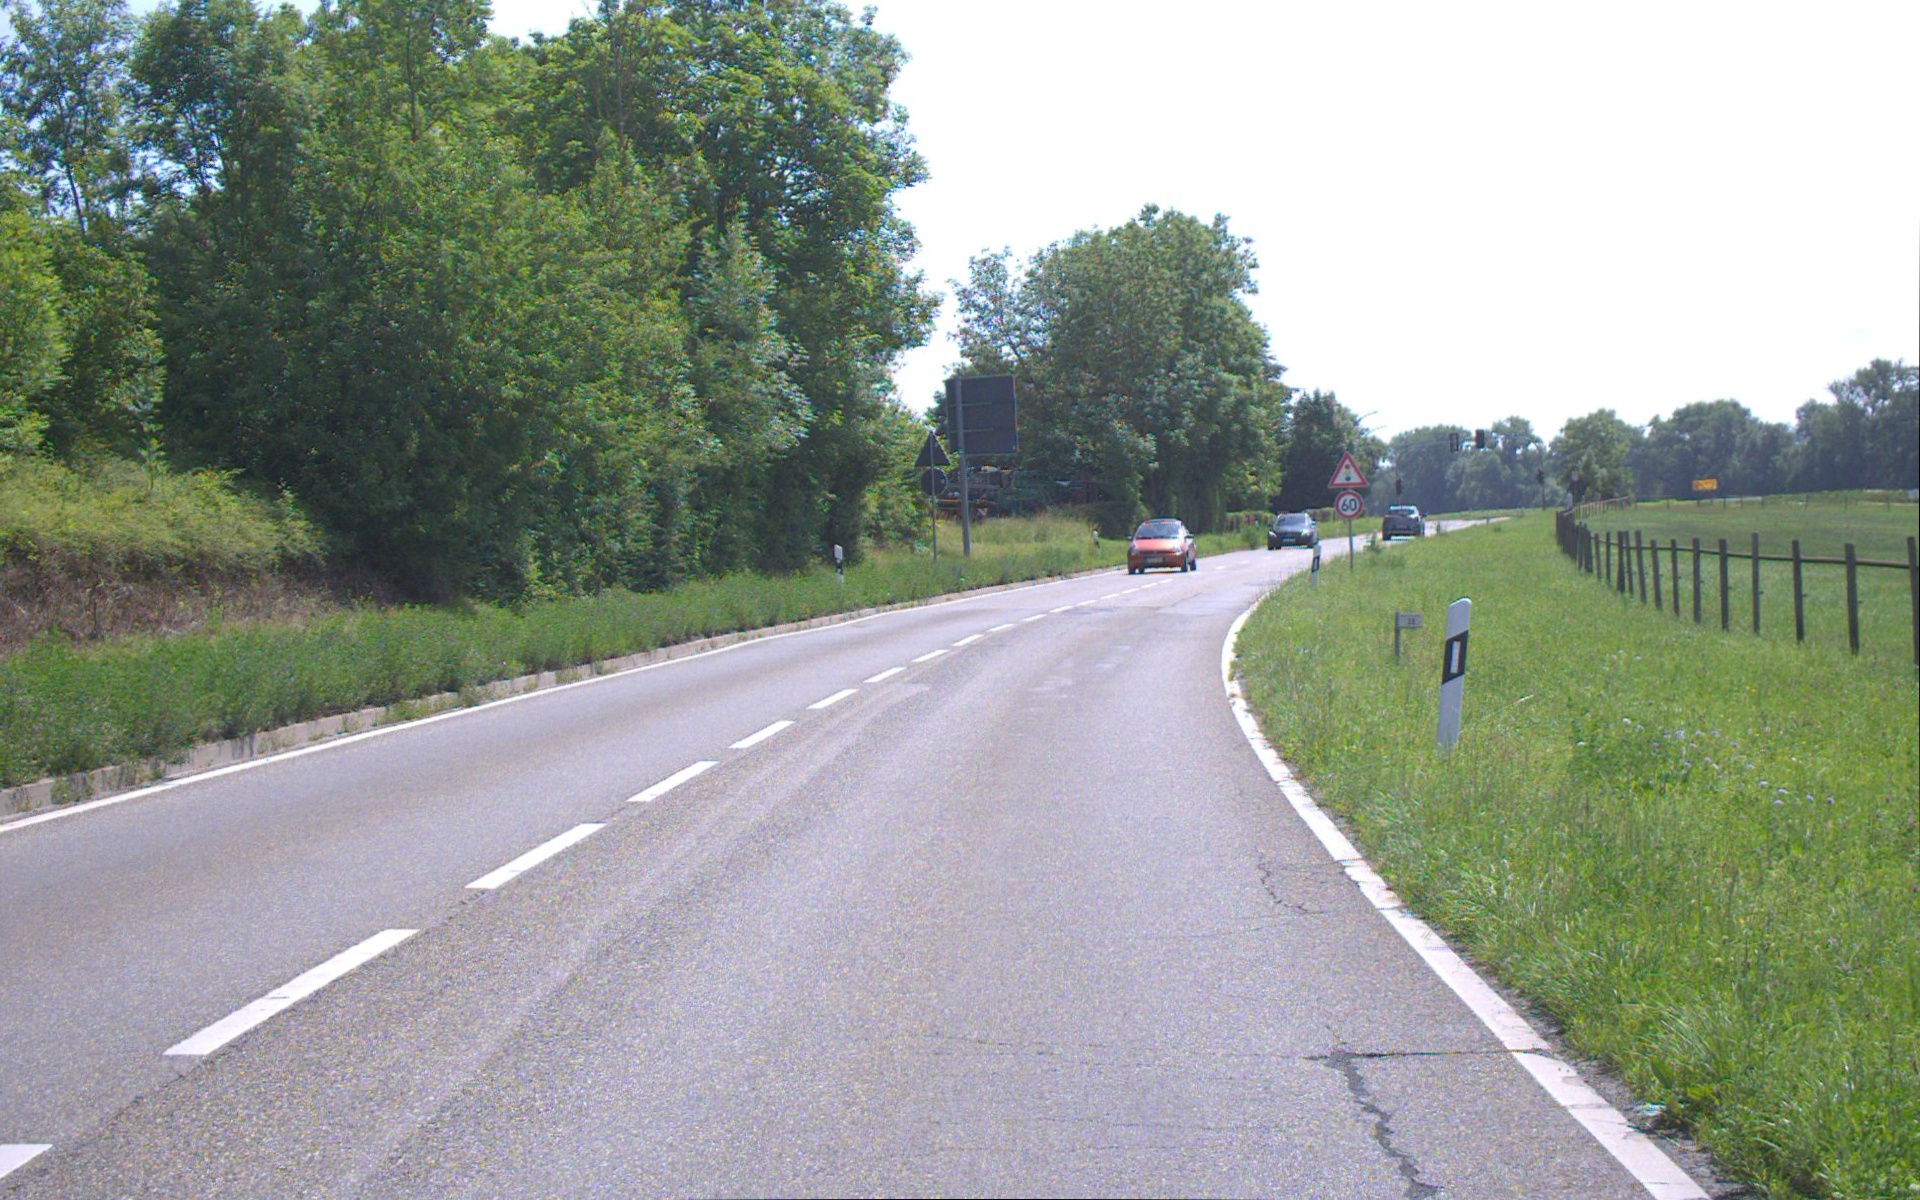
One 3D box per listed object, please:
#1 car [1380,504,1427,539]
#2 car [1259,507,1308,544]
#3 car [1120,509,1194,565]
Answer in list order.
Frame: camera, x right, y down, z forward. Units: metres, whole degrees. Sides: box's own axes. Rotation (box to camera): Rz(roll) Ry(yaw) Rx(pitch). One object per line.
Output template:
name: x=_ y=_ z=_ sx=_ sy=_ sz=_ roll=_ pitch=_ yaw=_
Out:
car: x=20.558 y=-3.628 z=159.410 sx=1.994 sy=1.568 sz=3.998 roll=1 pitch=1 yaw=10
car: x=13.183 y=-3.029 z=139.980 sx=1.821 sy=1.464 sz=3.999 roll=1 pitch=1 yaw=8
car: x=5.301 y=-1.700 z=91.932 sx=1.821 sy=1.464 sz=3.999 roll=1 pitch=1 yaw=5
